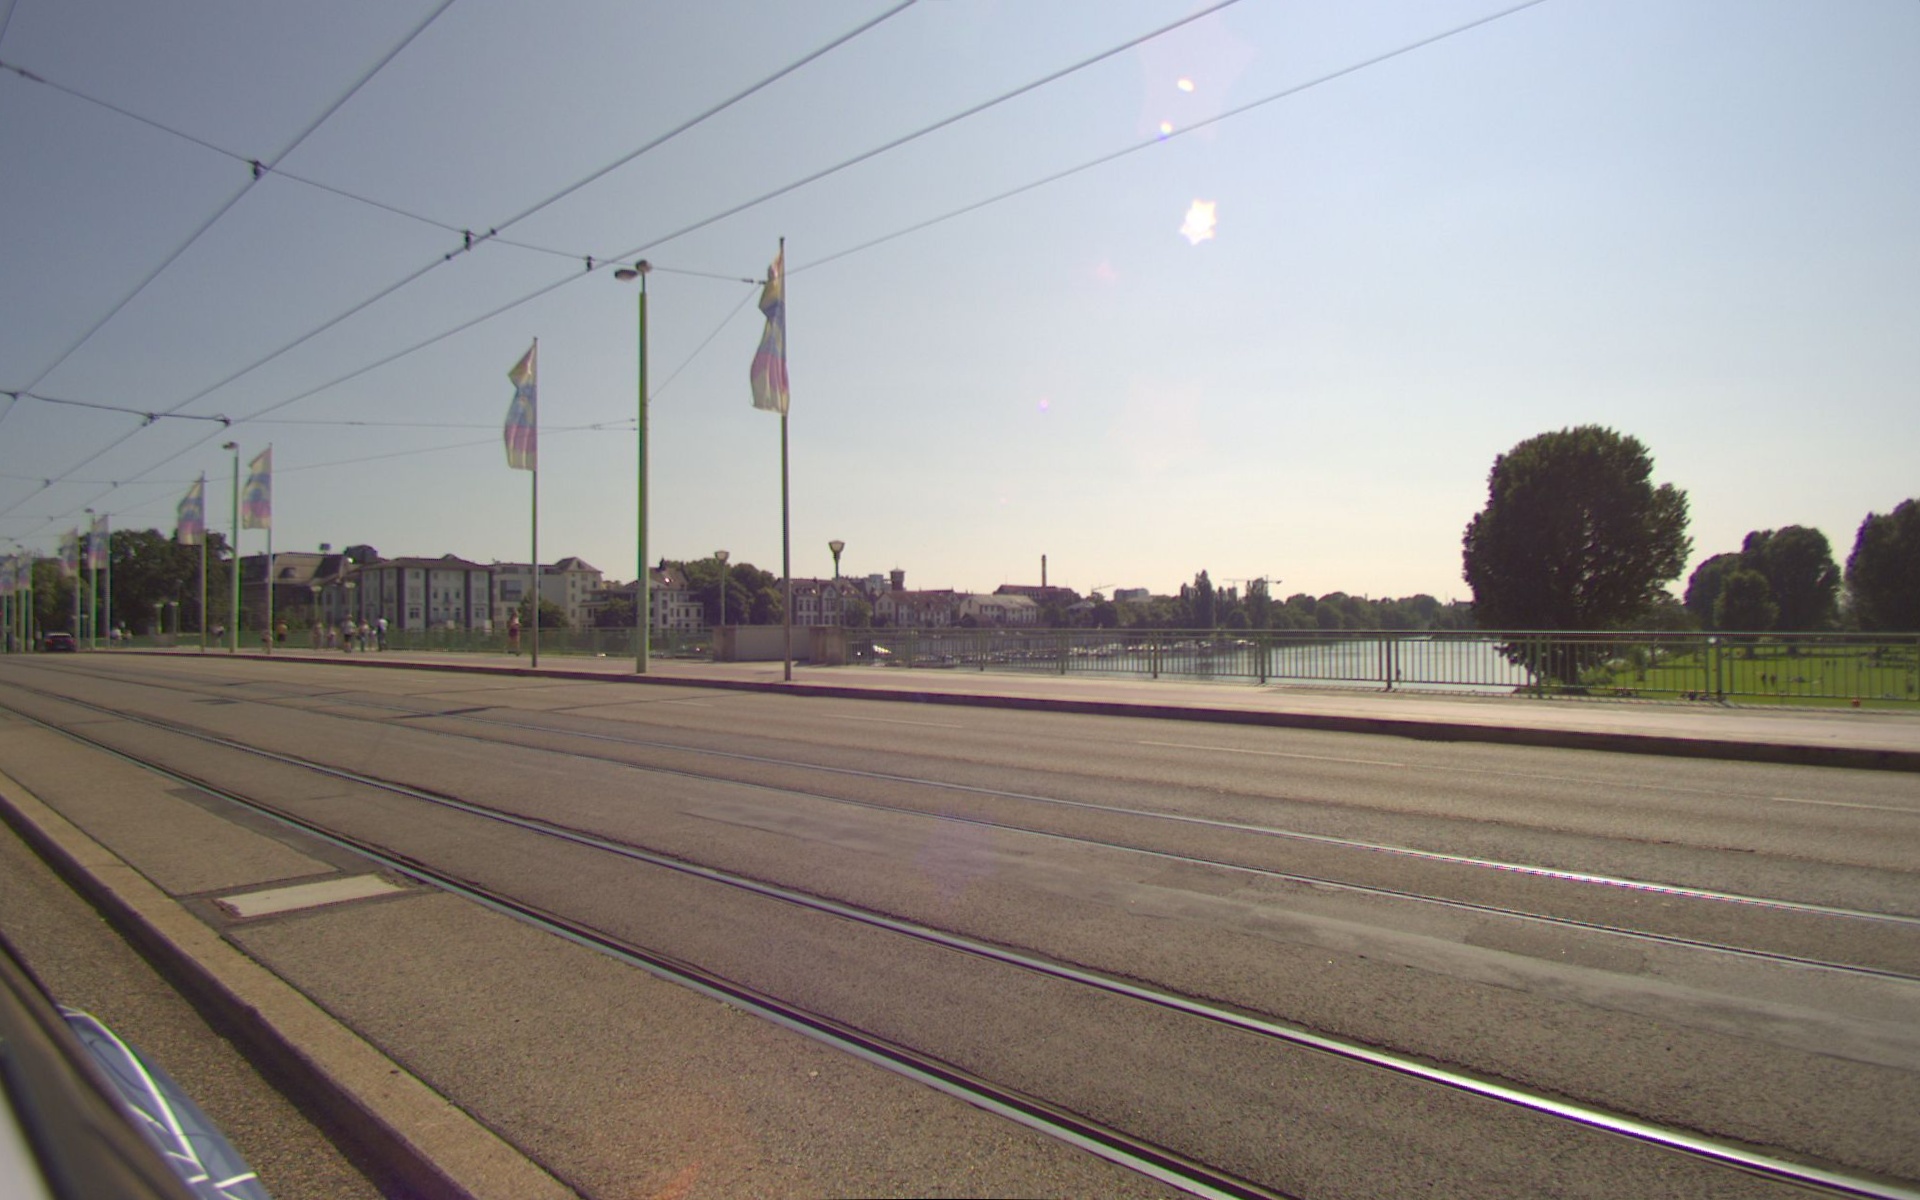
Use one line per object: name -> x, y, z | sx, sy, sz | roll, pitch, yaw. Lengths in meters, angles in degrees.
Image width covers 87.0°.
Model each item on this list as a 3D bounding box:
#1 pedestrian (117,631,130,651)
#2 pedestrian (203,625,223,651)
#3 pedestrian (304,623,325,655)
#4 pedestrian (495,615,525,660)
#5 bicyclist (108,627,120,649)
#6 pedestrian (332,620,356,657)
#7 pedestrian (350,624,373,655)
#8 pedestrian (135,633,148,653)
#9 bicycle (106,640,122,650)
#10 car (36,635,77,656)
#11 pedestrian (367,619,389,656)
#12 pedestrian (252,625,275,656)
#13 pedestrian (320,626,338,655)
pedestrian -> -72.834, 3.553, 88.136 | 1.022, 1.712, 0.584 | -2, 3, 41
pedestrian -> -49.097, 2.488, 66.524 | 1.022, 1.712, 0.777 | -2, 0, 41
pedestrian -> -33.100, 1.984, 51.902 | 1.022, 1.611, 0.620 | -2, 0, 41
pedestrian -> -17.553, 1.453, 39.468 | 1.022, 1.703, 0.677 | -2, 0, 41
bicyclist -> -65.772, 2.927, 78.671 | 0.621, 1.663, 0.657 | -2, -2, 41
pedestrian -> -29.132, 1.822, 47.881 | 1.022, 1.712, 0.663 | -2, 0, 41
pedestrian -> -28.420, 1.867, 48.057 | 1.022, 1.425, 0.584 | -2, 0, 41
pedestrian -> -69.506, 3.645, 85.922 | 0.904, 1.712, 0.584 | -2, 3, 41
bicycle -> -65.804, 3.521, 78.696 | 2.171, 0.721, 0.658 | -2, -2, 41
car -> -65.187, 3.274, 73.033 | 3.899, 1.465, 1.698 | -2, -3, 41
pedestrian -> -27.898, 1.791, 48.513 | 1.022, 1.712, 0.584 | -2, 0, 41
pedestrian -> -38.923, 2.250, 56.516 | 1.022, 1.712, 0.777 | -2, 0, 41
pedestrian -> -32.666, 2.096, 52.409 | 0.788, 1.448, 0.540 | -2, 0, 41
